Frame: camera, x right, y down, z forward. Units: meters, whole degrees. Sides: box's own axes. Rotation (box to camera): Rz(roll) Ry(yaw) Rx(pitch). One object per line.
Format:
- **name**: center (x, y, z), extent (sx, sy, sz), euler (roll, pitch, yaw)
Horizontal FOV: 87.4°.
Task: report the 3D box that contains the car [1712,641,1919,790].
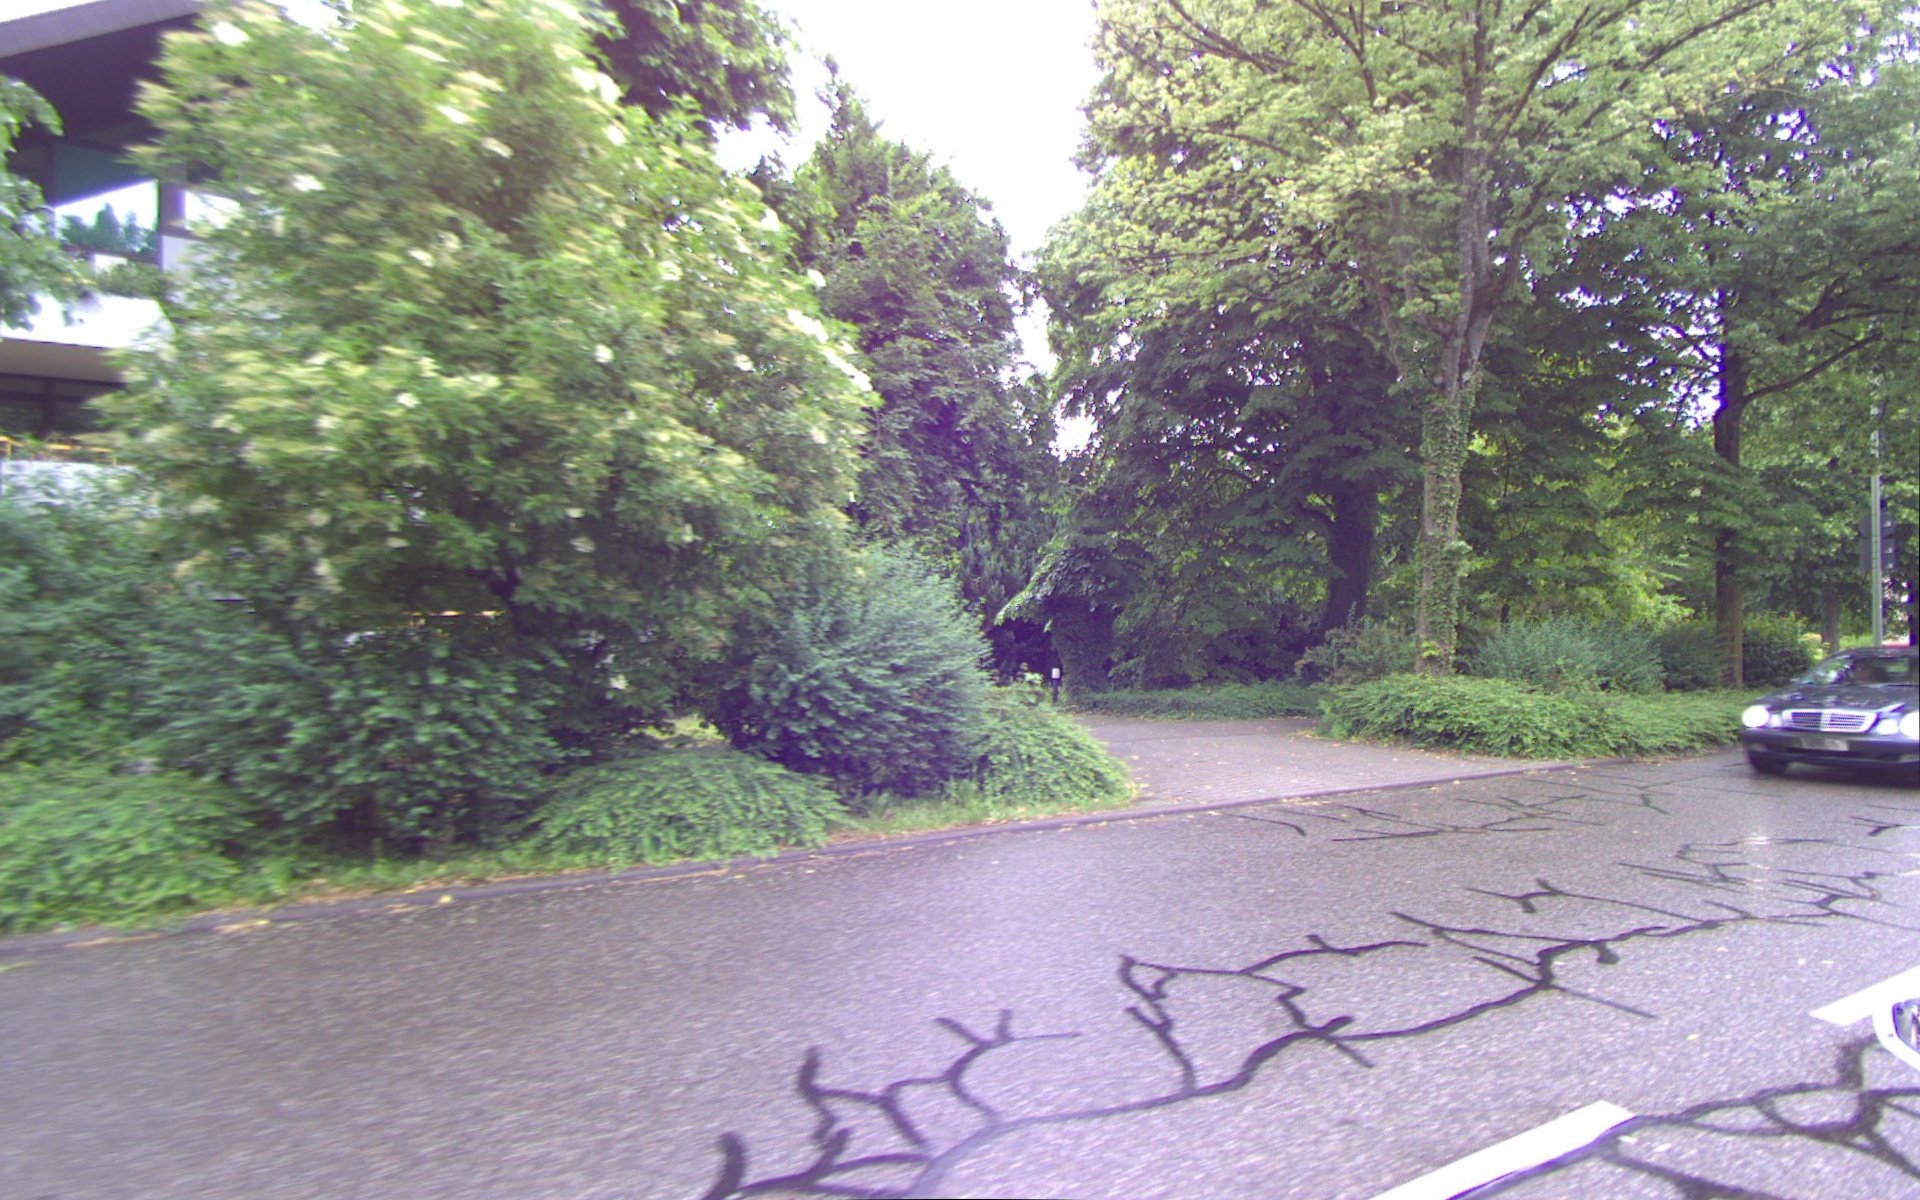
- **car**: center (10.258, 1.156, 11.002), extent (4.328, 1.366, 1.756), euler (2, -3, -31)
